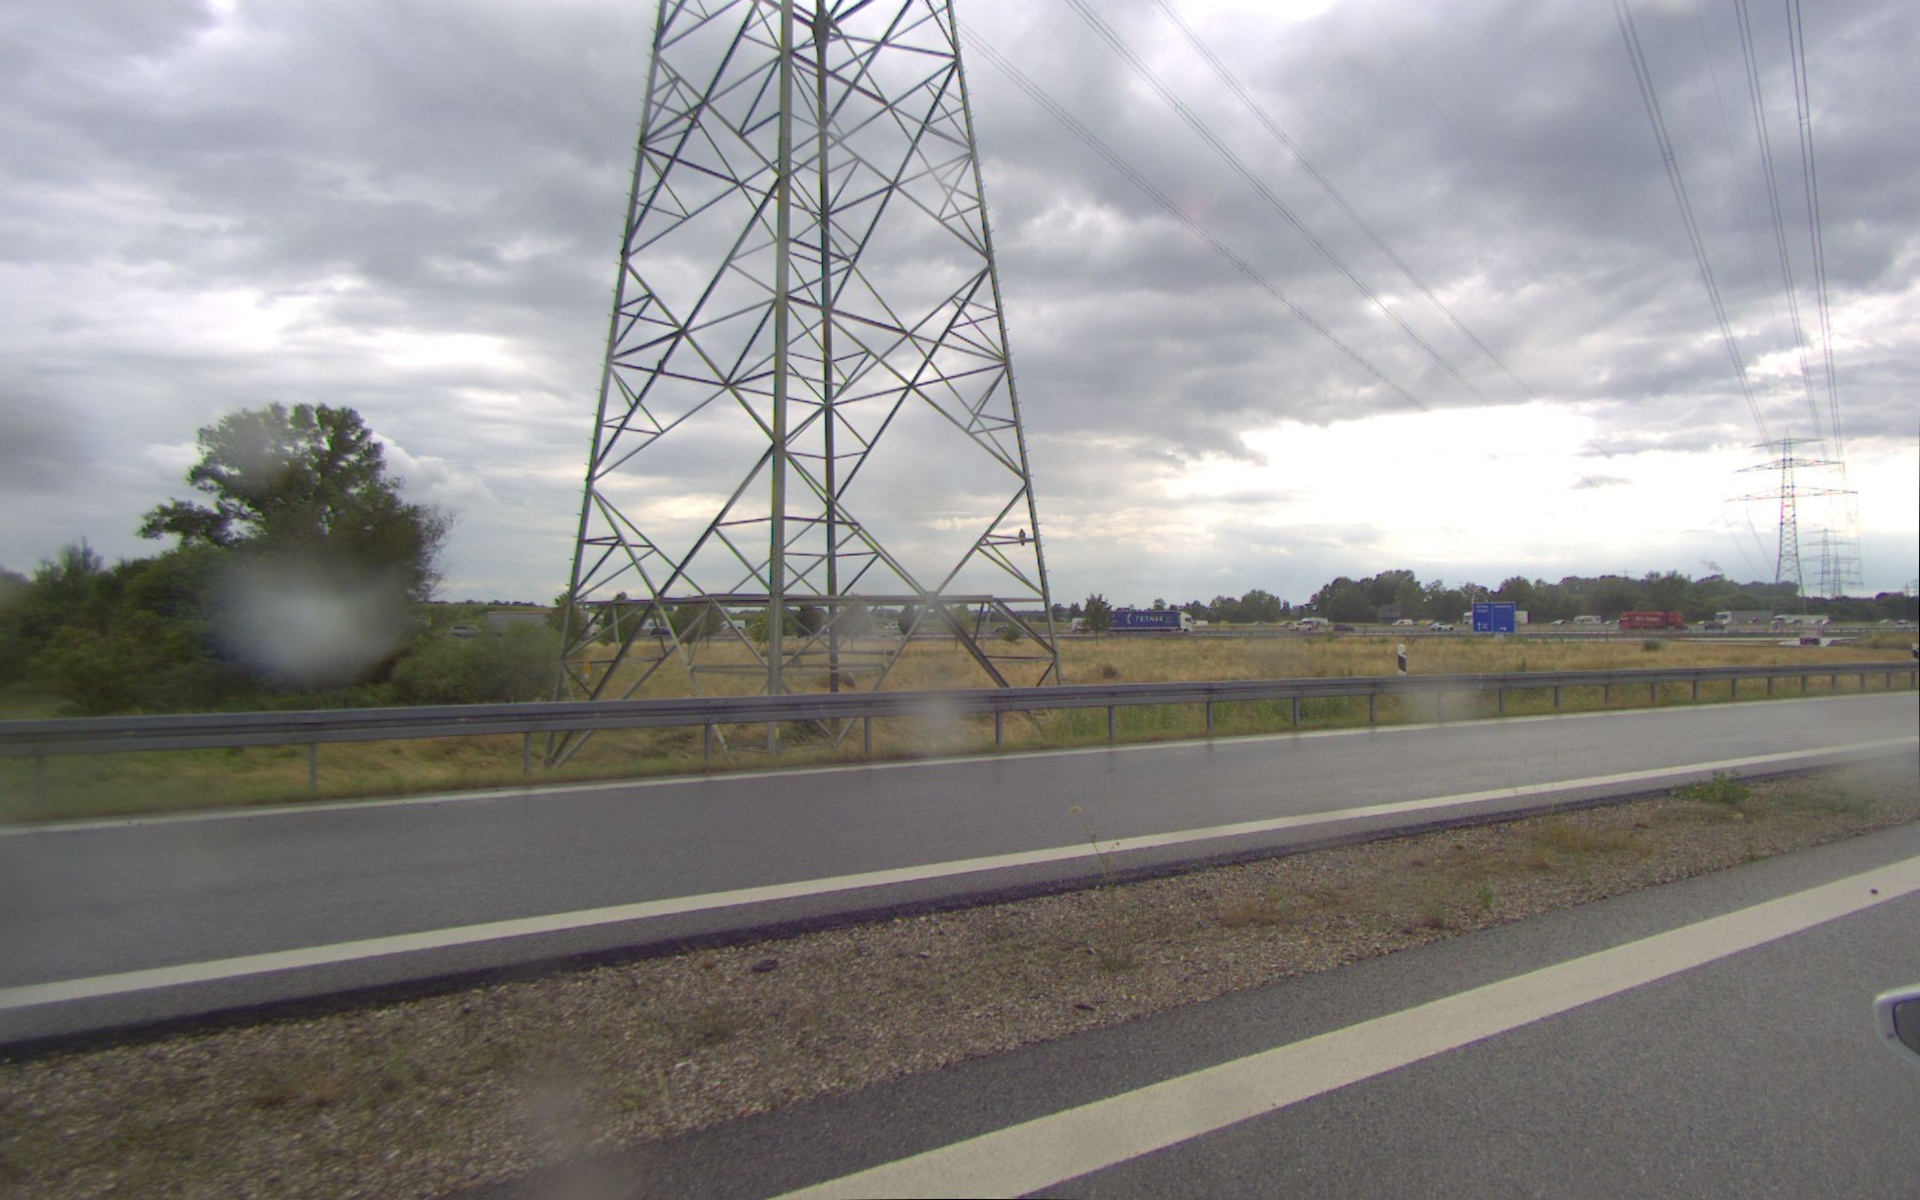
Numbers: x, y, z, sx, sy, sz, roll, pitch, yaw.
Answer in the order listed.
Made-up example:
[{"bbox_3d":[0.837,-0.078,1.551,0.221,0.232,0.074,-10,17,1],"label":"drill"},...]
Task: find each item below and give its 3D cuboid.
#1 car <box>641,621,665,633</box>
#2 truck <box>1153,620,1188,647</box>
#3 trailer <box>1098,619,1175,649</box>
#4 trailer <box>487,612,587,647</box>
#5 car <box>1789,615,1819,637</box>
[{"bbox_3d":[-54.137,4.709,177.136,3.931,2.040,1.995,-1,0,-14],"label":"car"},{"bbox_3d":[36.894,5.777,176.049,4.991,4.540,3.067,-1,0,-18],"label":"truck"},{"bbox_3d":[30.581,5.877,174.085,13.085,4.698,3.047,-1,0,-17],"label":"trailer"},{"bbox_3d":[-62.175,4.250,148.073,13.175,4.678,3.471,-1,0,-17],"label":"trailer"},{"bbox_3d":[141.200,4.390,168.169,3.340,3.658,9.011,0,-2,37],"label":"car"}]
